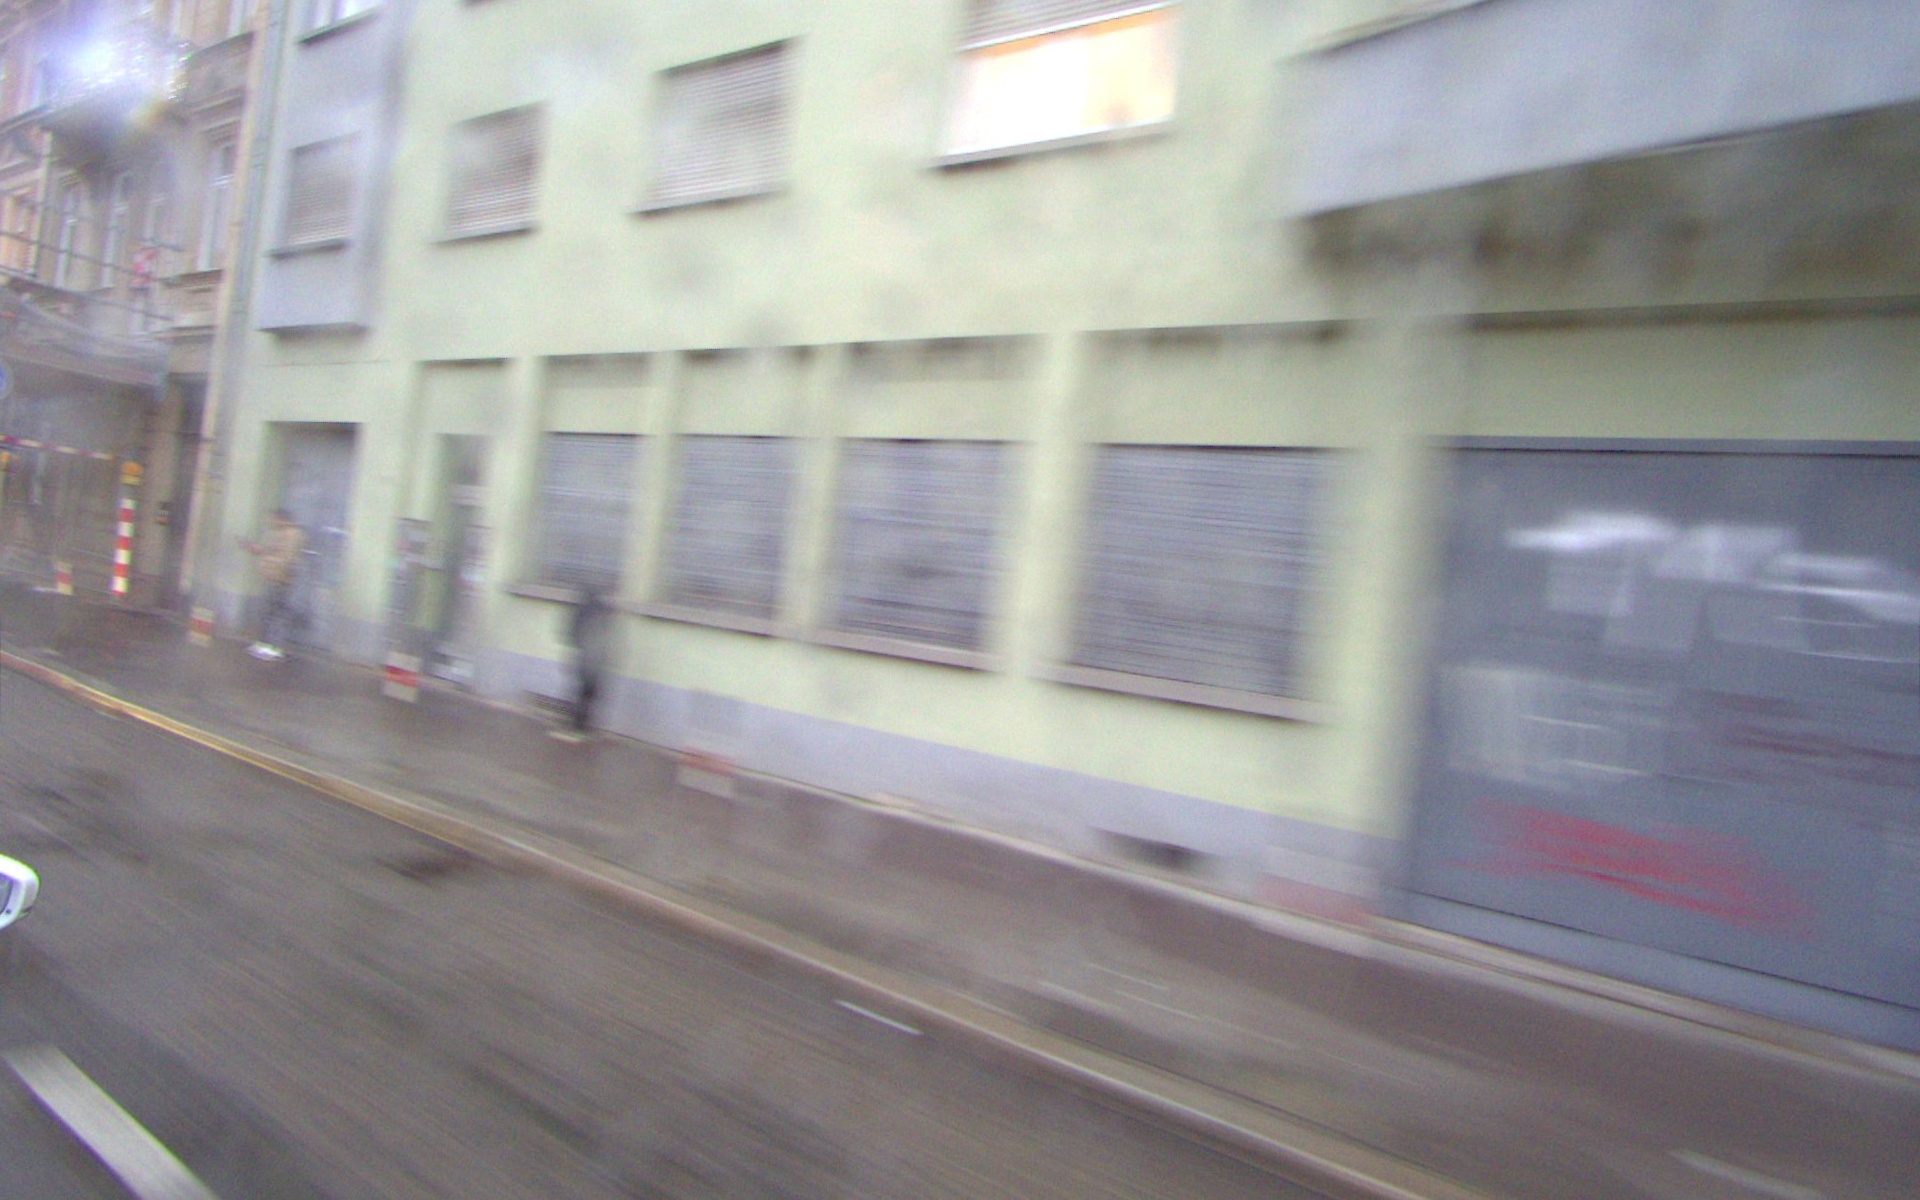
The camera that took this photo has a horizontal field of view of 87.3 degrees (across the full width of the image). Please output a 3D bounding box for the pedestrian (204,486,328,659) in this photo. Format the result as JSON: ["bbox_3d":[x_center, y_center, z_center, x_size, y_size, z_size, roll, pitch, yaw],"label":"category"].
[{"bbox_3d":[-7.891,-0.293,11.464,0.761,1.839,0.601,7,-1,4],"label":"pedestrian"}]

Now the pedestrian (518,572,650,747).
[{"bbox_3d":[-3.247,0.515,8.713,0.716,1.392,0.601,7,-1,31],"label":"pedestrian"}]
